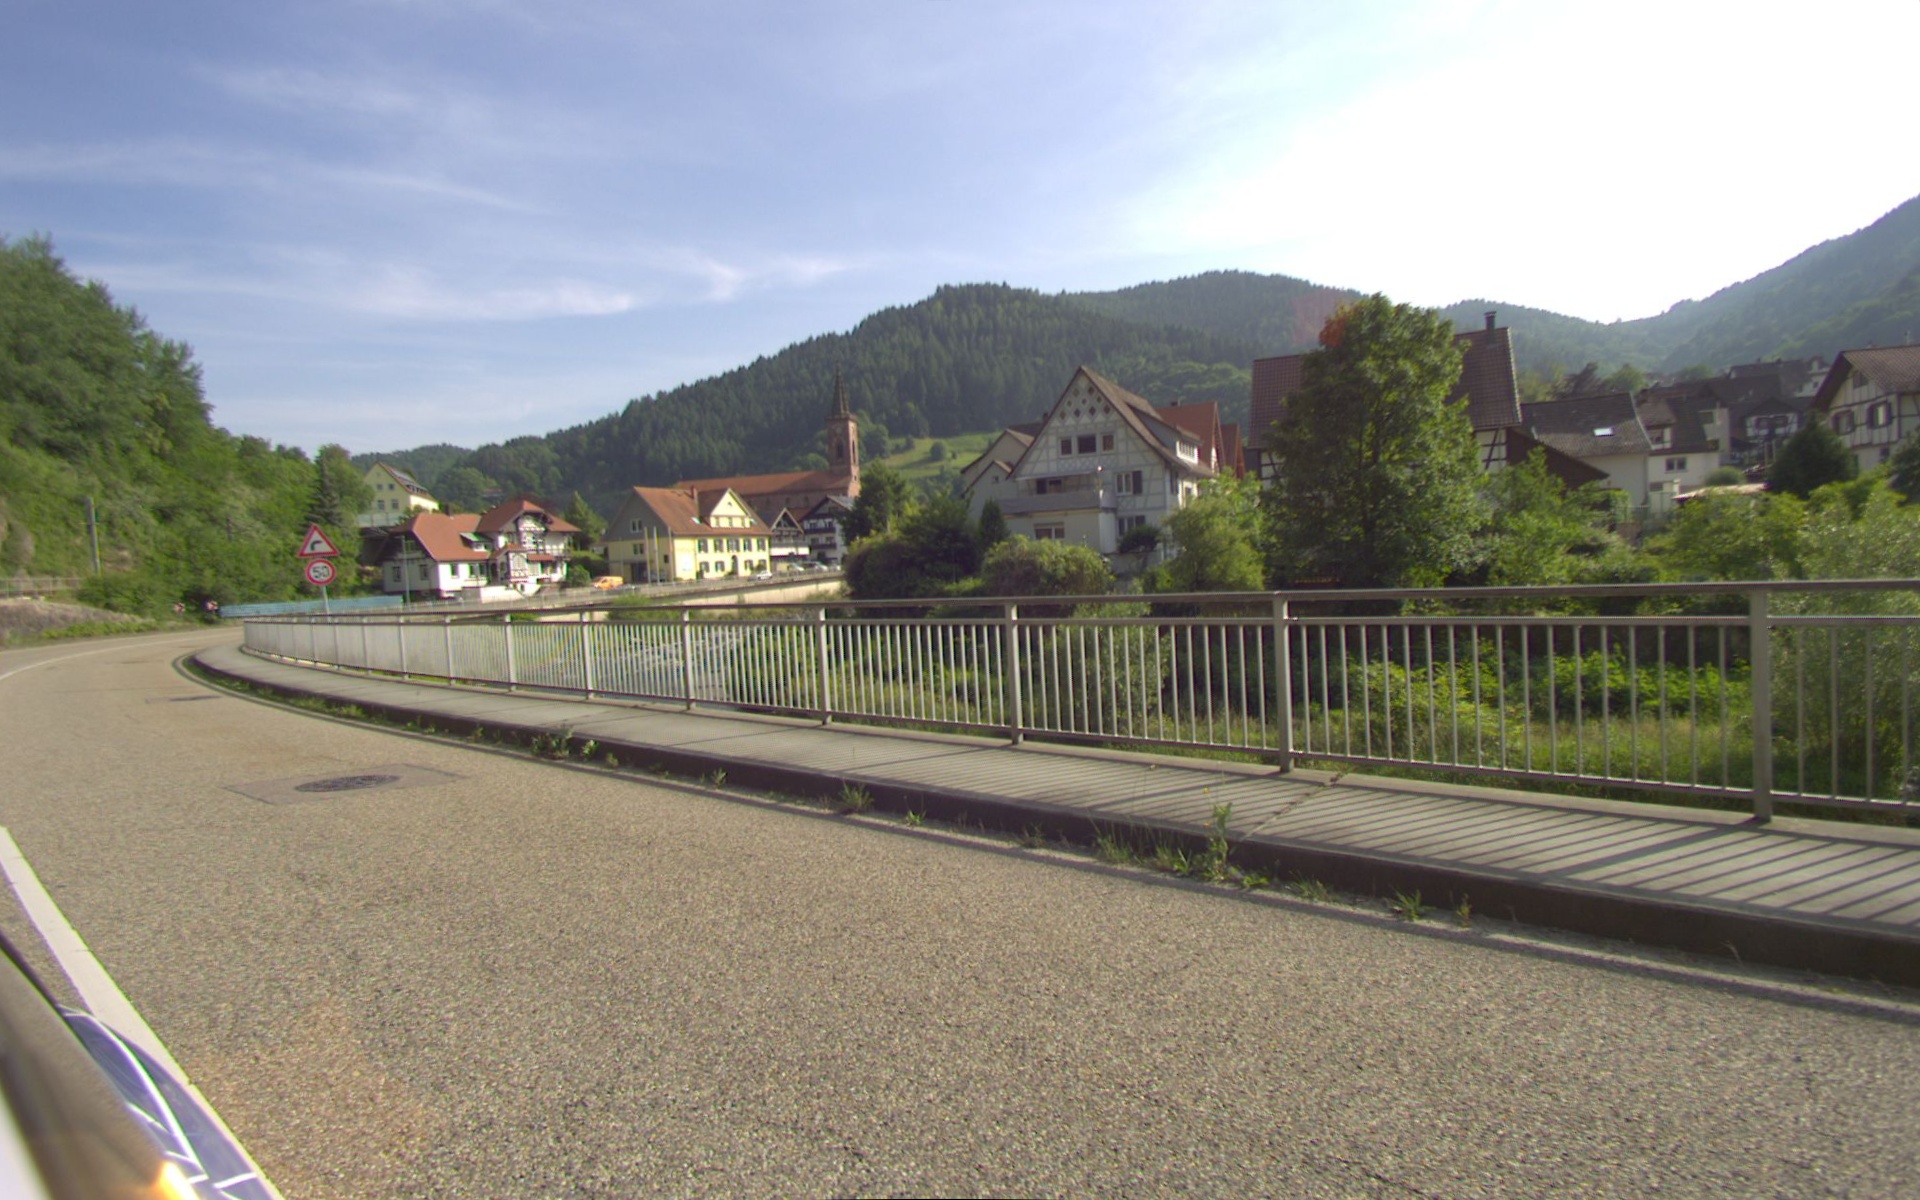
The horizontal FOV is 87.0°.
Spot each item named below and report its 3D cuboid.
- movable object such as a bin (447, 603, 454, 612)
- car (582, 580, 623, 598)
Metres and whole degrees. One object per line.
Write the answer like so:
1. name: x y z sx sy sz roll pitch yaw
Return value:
1. movable object such as a bin: -51.985 0.737 103.244 0.365 0.906 0.545 -3 2 13
2. car: -44.063 -1.359 124.784 1.903 2.012 4.796 -2 1 24
